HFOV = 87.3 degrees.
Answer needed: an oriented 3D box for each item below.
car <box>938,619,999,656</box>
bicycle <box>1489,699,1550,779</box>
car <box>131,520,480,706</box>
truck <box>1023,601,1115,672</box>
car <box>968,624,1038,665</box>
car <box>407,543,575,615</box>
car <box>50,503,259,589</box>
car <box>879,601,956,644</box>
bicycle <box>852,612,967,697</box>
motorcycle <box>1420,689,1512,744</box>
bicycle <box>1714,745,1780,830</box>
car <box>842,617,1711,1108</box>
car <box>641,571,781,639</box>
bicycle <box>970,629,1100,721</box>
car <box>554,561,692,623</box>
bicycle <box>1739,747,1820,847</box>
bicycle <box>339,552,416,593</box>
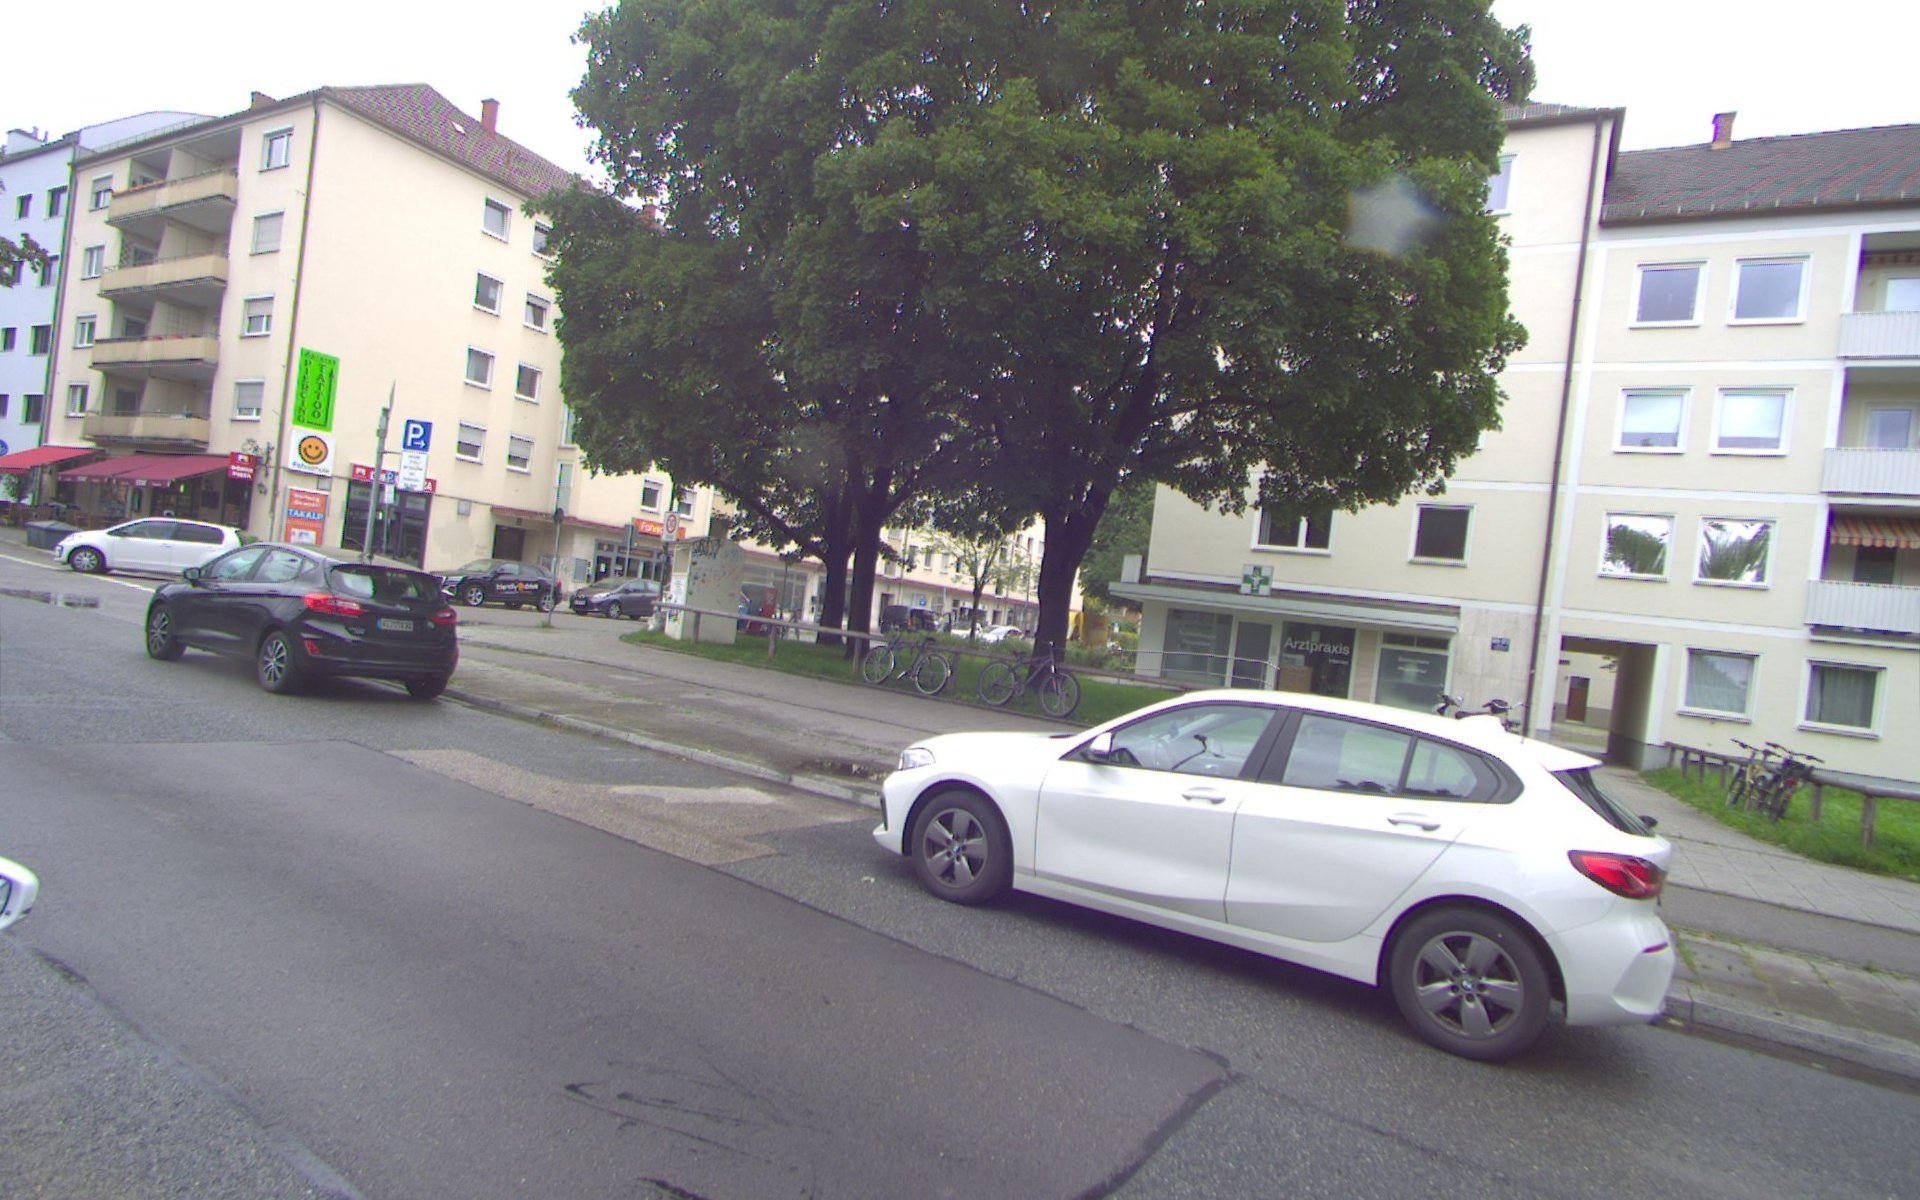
[{"bbox_3d":[0.546,2.240,58.996,1.839,1.679,4.089,7,-2,27],"label":"car"},{"bbox_3d":[7.795,1.911,13.970,0.549,0.950,1.881,7,-2,32],"label":"bicycle"},{"bbox_3d":[-7.120,0.114,10.890,3.613,1.482,1.621,7,-2,31],"label":"car"},{"bbox_3d":[6.222,2.161,56.286,2.318,3.282,7.426,7,-2,27],"label":"truck"},{"bbox_3d":[2.386,2.440,54.714,1.839,1.679,4.740,7,-3,27],"label":"car"},{"bbox_3d":[-14.324,-0.598,31.012,1.839,1.681,4.403,7,0,27],"label":"car"},{"bbox_3d":[-18.714,-1.241,23.585,3.525,1.434,1.855,8,0,-33],"label":"car"},{"bbox_3d":[-2.196,1.229,53.604,1.839,1.679,4.751,7,-2,27],"label":"car"},{"bbox_3d":[-0.826,0.864,16.167,1.823,1.118,0.389,7,-1,32],"label":"bicycle"},{"bbox_3d":[12.446,2.858,24.764,1.875,1.035,0.605,7,-1,32],"label":"motorcycle"},{"bbox_3d":[10.736,2.529,13.769,0.425,0.985,1.880,7,-2,32],"label":"bicycle"},{"bbox_3d":[1.544,1.148,5.732,4.067,1.481,1.687,7,-3,31],"label":"car"},{"bbox_3d":[-8.165,0.217,33.339,1.840,1.680,4.403,6,-3,30],"label":"car"},{"bbox_3d":[1.102,1.105,14.995,1.852,1.116,0.382,7,-1,32],"label":"bicycle"},{"bbox_3d":[-11.710,-0.220,35.265,1.839,1.681,4.401,7,0,28],"label":"car"},{"bbox_3d":[9.759,2.310,12.021,0.425,0.985,1.880,7,-2,32],"label":"bicycle"},{"bbox_3d":[-17.268,-0.808,29.873,0.548,0.968,1.852,7,-2,30],"label":"bicycle"}]
